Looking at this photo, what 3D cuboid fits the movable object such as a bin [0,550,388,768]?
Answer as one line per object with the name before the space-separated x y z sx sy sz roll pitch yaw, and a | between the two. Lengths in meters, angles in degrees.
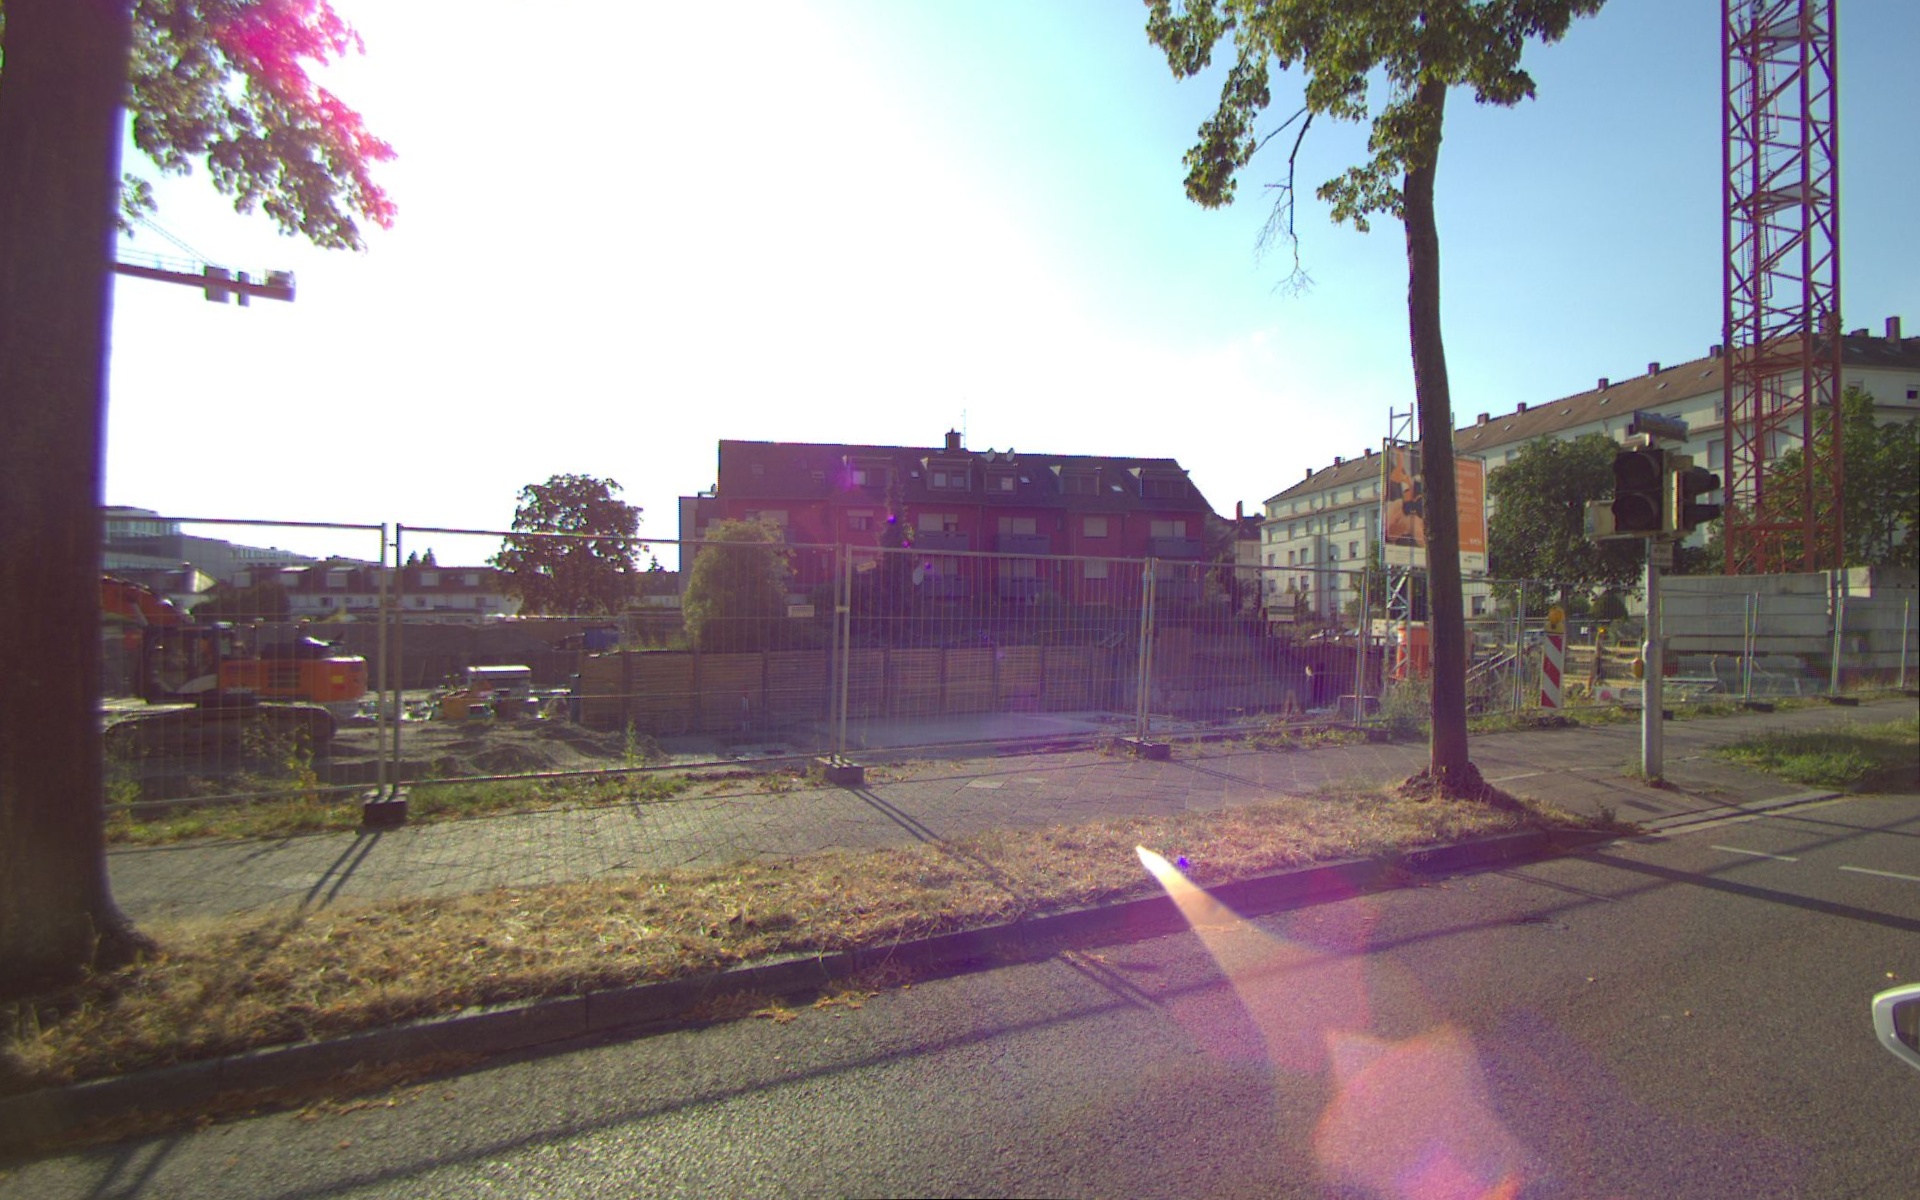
movable object such as a bin | -22.073 1.413 25.979 12.047 5.131 4.078 2 0 -23
